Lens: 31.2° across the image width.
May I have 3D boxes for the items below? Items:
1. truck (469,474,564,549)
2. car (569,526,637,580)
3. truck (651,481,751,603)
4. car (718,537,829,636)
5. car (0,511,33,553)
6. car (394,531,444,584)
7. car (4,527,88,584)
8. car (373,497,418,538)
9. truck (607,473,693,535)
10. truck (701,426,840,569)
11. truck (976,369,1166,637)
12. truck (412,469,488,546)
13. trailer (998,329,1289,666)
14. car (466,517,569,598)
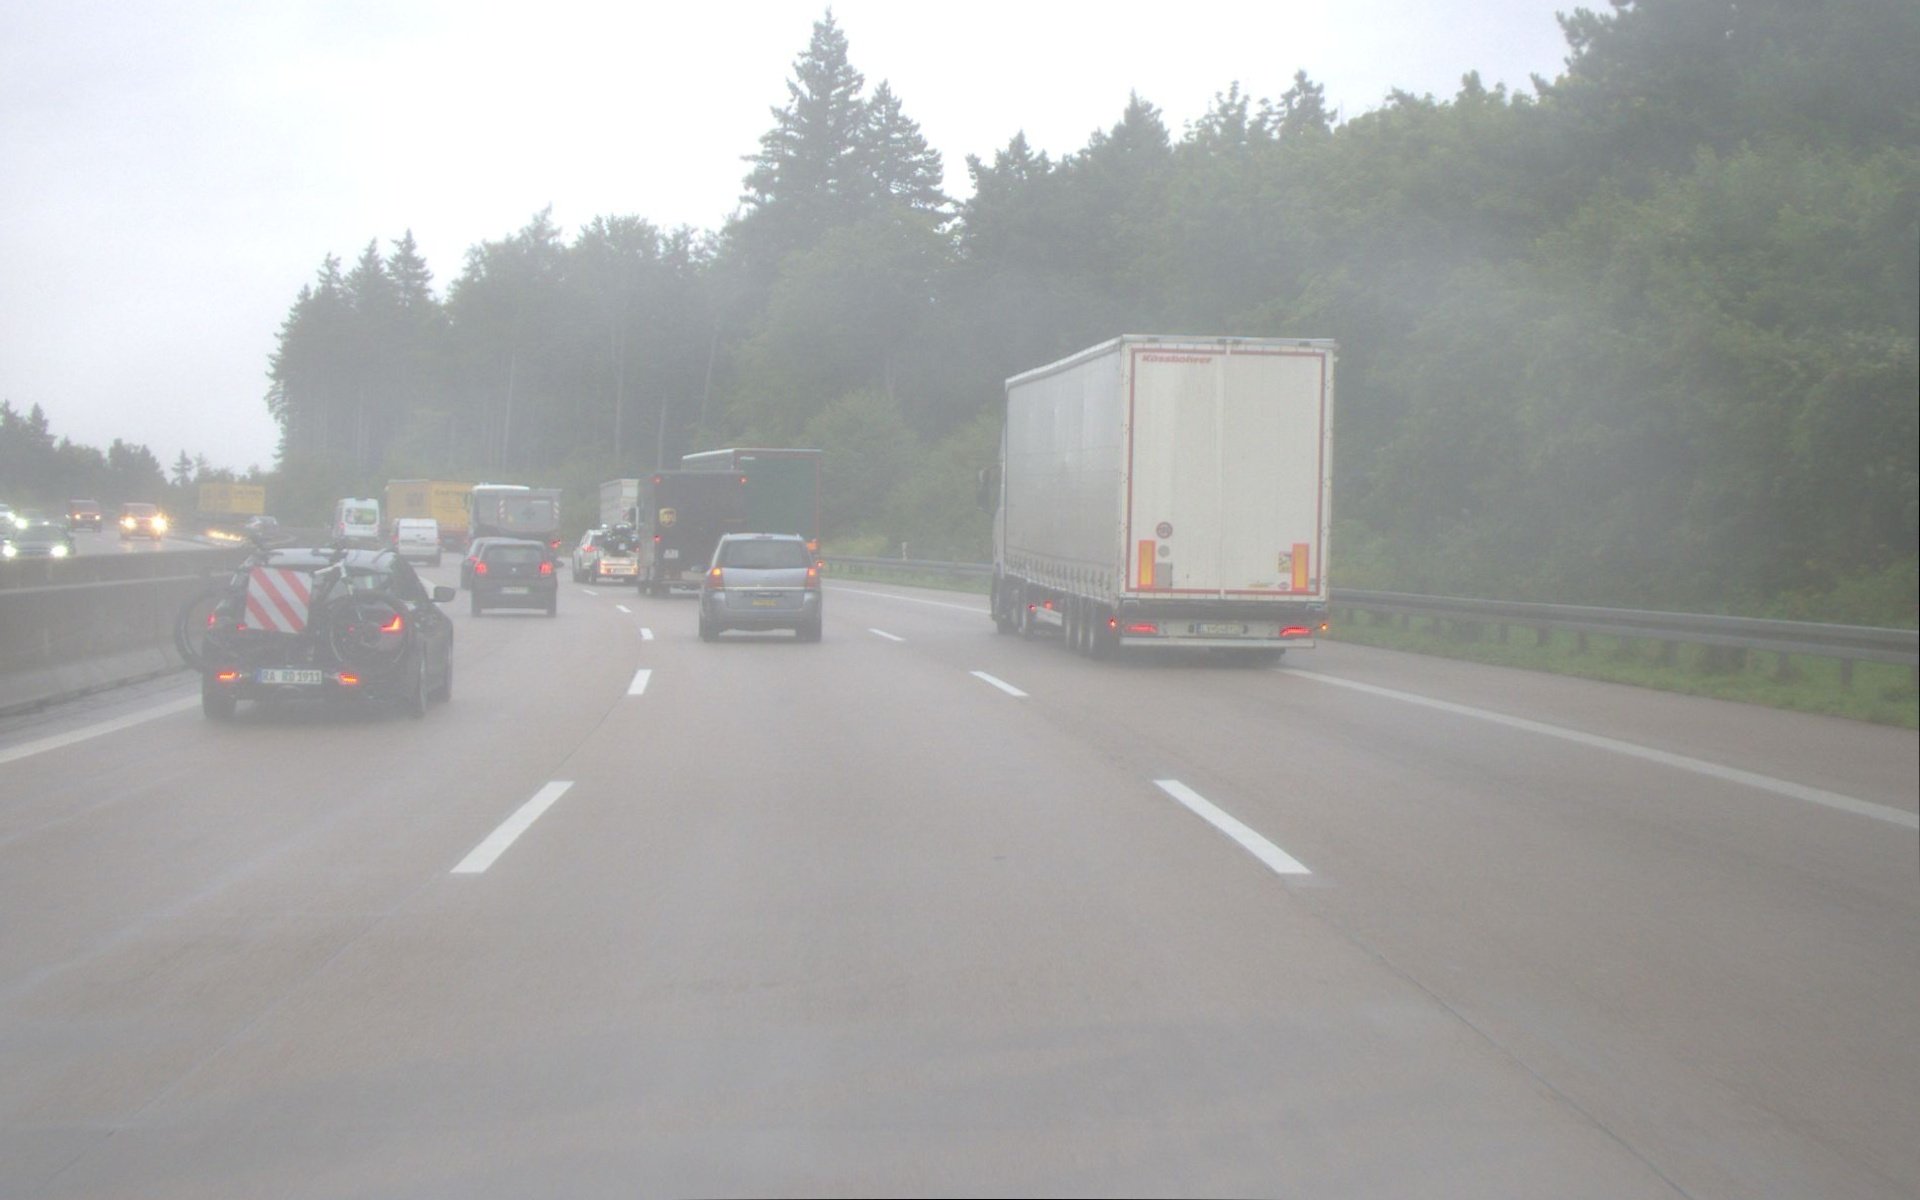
[{"bbox_3d":[-17.895,-3.600,138.307,3.081,2.895,7.906,0,2,-13],"label":"truck"},{"bbox_3d":[-10.521,-1.385,101.201,1.881,1.468,4.001,2,1,-6],"label":"car"},{"bbox_3d":[-6.439,-1.525,86.197,2.269,2.877,7.904,1,2,-3],"label":"truck"},{"bbox_3d":[-2.808,-0.232,51.324,1.553,1.347,3.684,2,1,-4],"label":"car"},{"bbox_3d":[-37.477,-2.650,134.344,1.776,1.633,4.255,0,1,-6],"label":"car"},{"bbox_3d":[-21.115,-1.648,134.086,1.725,2.007,3.658,0,0,-12],"label":"car"},{"bbox_3d":[-27.127,-1.332,102.122,1.776,1.633,4.001,0,1,-6],"label":"car"},{"bbox_3d":[-29.445,-4.292,179.255,1.993,2.052,4.001,0,0,-15],"label":"car"},{"bbox_3d":[-12.416,-3.841,137.222,2.974,2.301,6.669,2,1,-8],"label":"truck"},{"bbox_3d":[-5.880,-3.092,104.659,3.368,4.117,10.440,0,1,-8],"label":"truck"},{"bbox_3d":[1.699,-1.534,54.801,2.419,4.054,4.979,0,1,-5],"label":"truck"},{"bbox_3d":[-28.878,-5.196,194.442,3.739,4.195,6.820,0,0,-12],"label":"truck"},{"bbox_3d":[2.287,-1.377,47.633,2.419,4.054,12.057,0,1,-5],"label":"trailer"},{"bbox_3d":[-8.428,-0.833,65.740,1.683,1.457,3.684,2,1,-4],"label":"car"}]
